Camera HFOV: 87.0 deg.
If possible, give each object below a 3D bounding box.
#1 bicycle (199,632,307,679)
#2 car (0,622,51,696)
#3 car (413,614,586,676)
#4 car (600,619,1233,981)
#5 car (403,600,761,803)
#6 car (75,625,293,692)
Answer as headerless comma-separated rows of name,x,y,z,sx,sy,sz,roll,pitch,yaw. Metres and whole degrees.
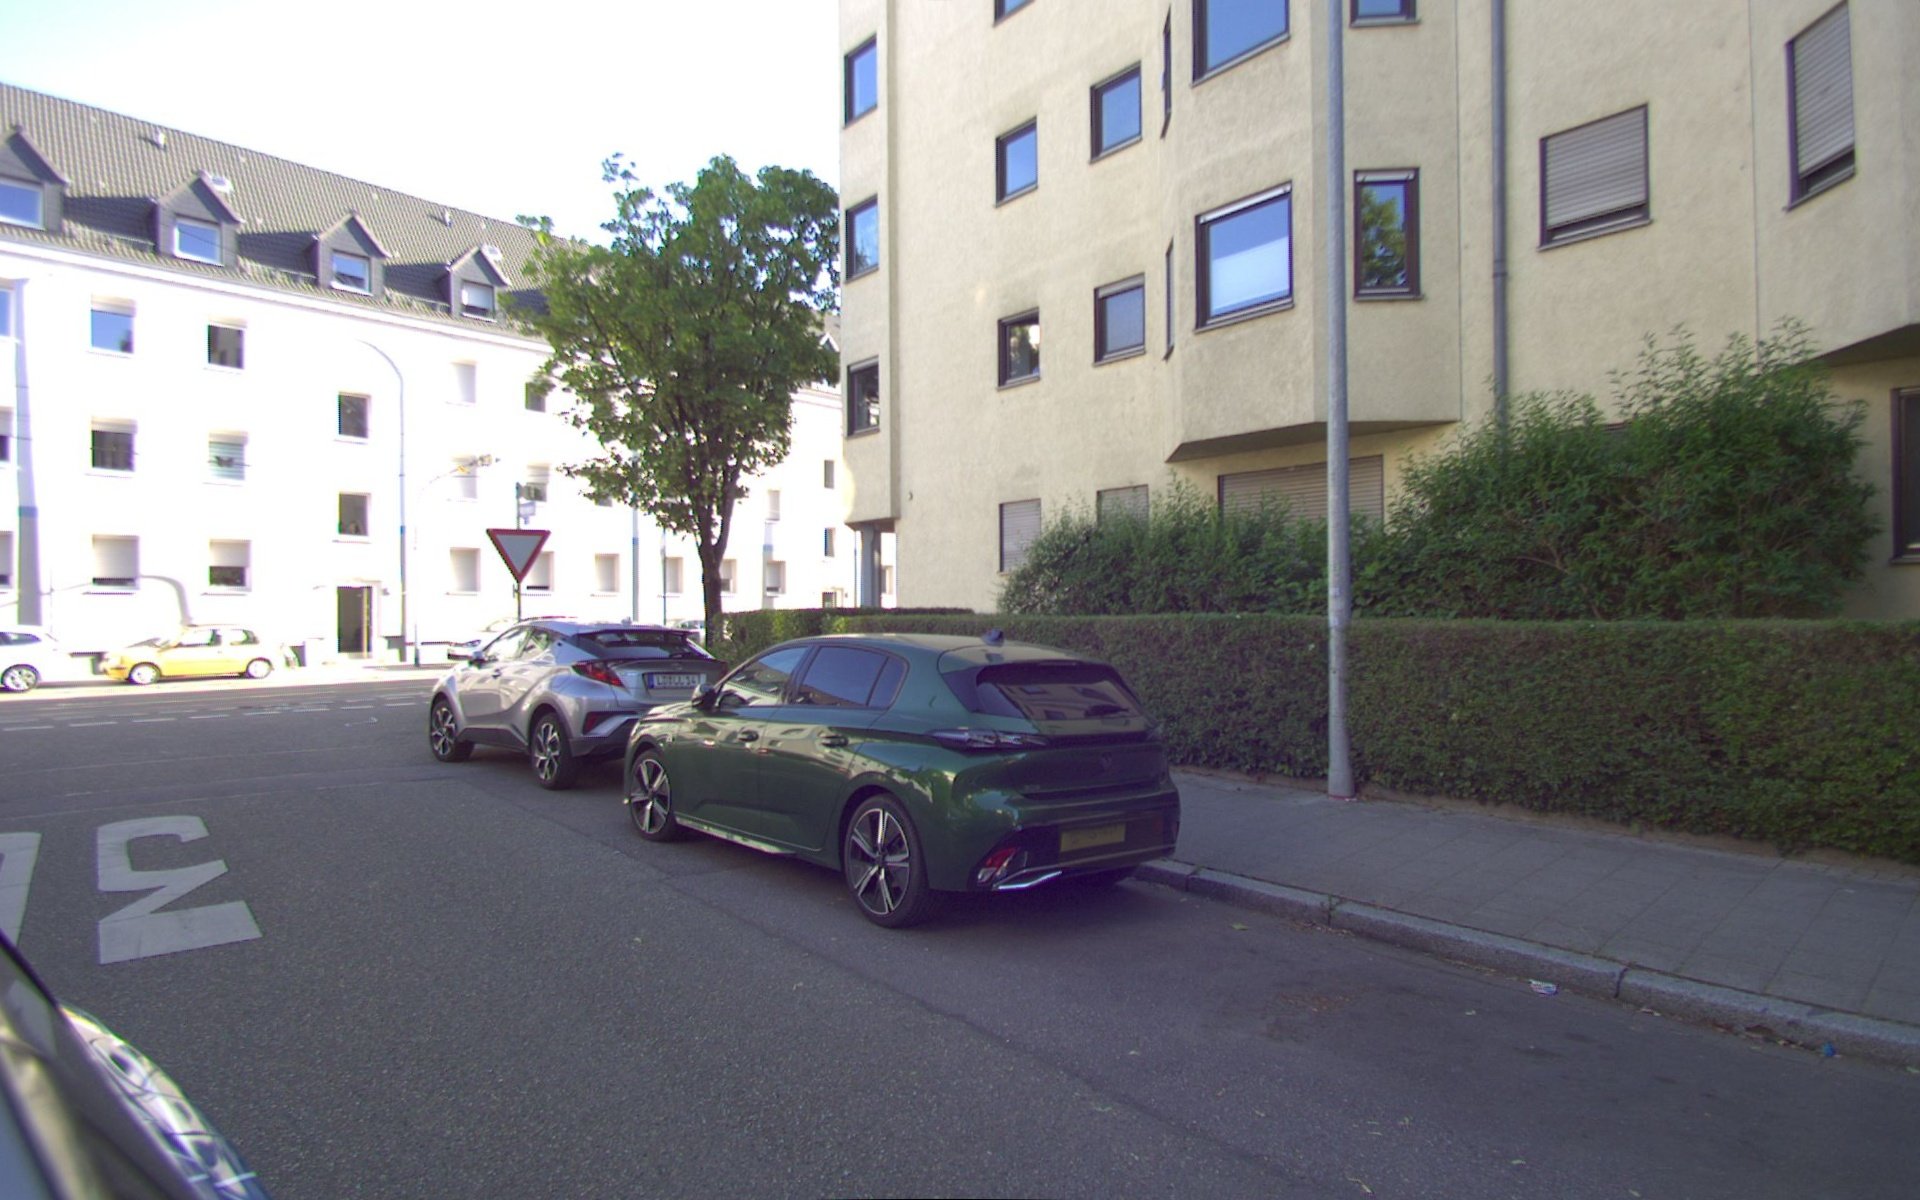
bicycle,-19.769,1.521,28.338,1.099,1.206,2.295,-2,-1,41
car,-22.557,1.301,21.678,1.685,1.583,4.446,1,0,42
car,-14.182,1.321,31.405,1.759,1.678,4.565,3,1,39
car,-0.561,0.897,6.369,1.731,1.508,4.140,3,-3,-42
car,-4.020,0.898,10.455,4.001,1.672,1.882,-1,-3,44
car,-19.324,1.397,25.353,1.518,1.441,4.143,0,0,42
